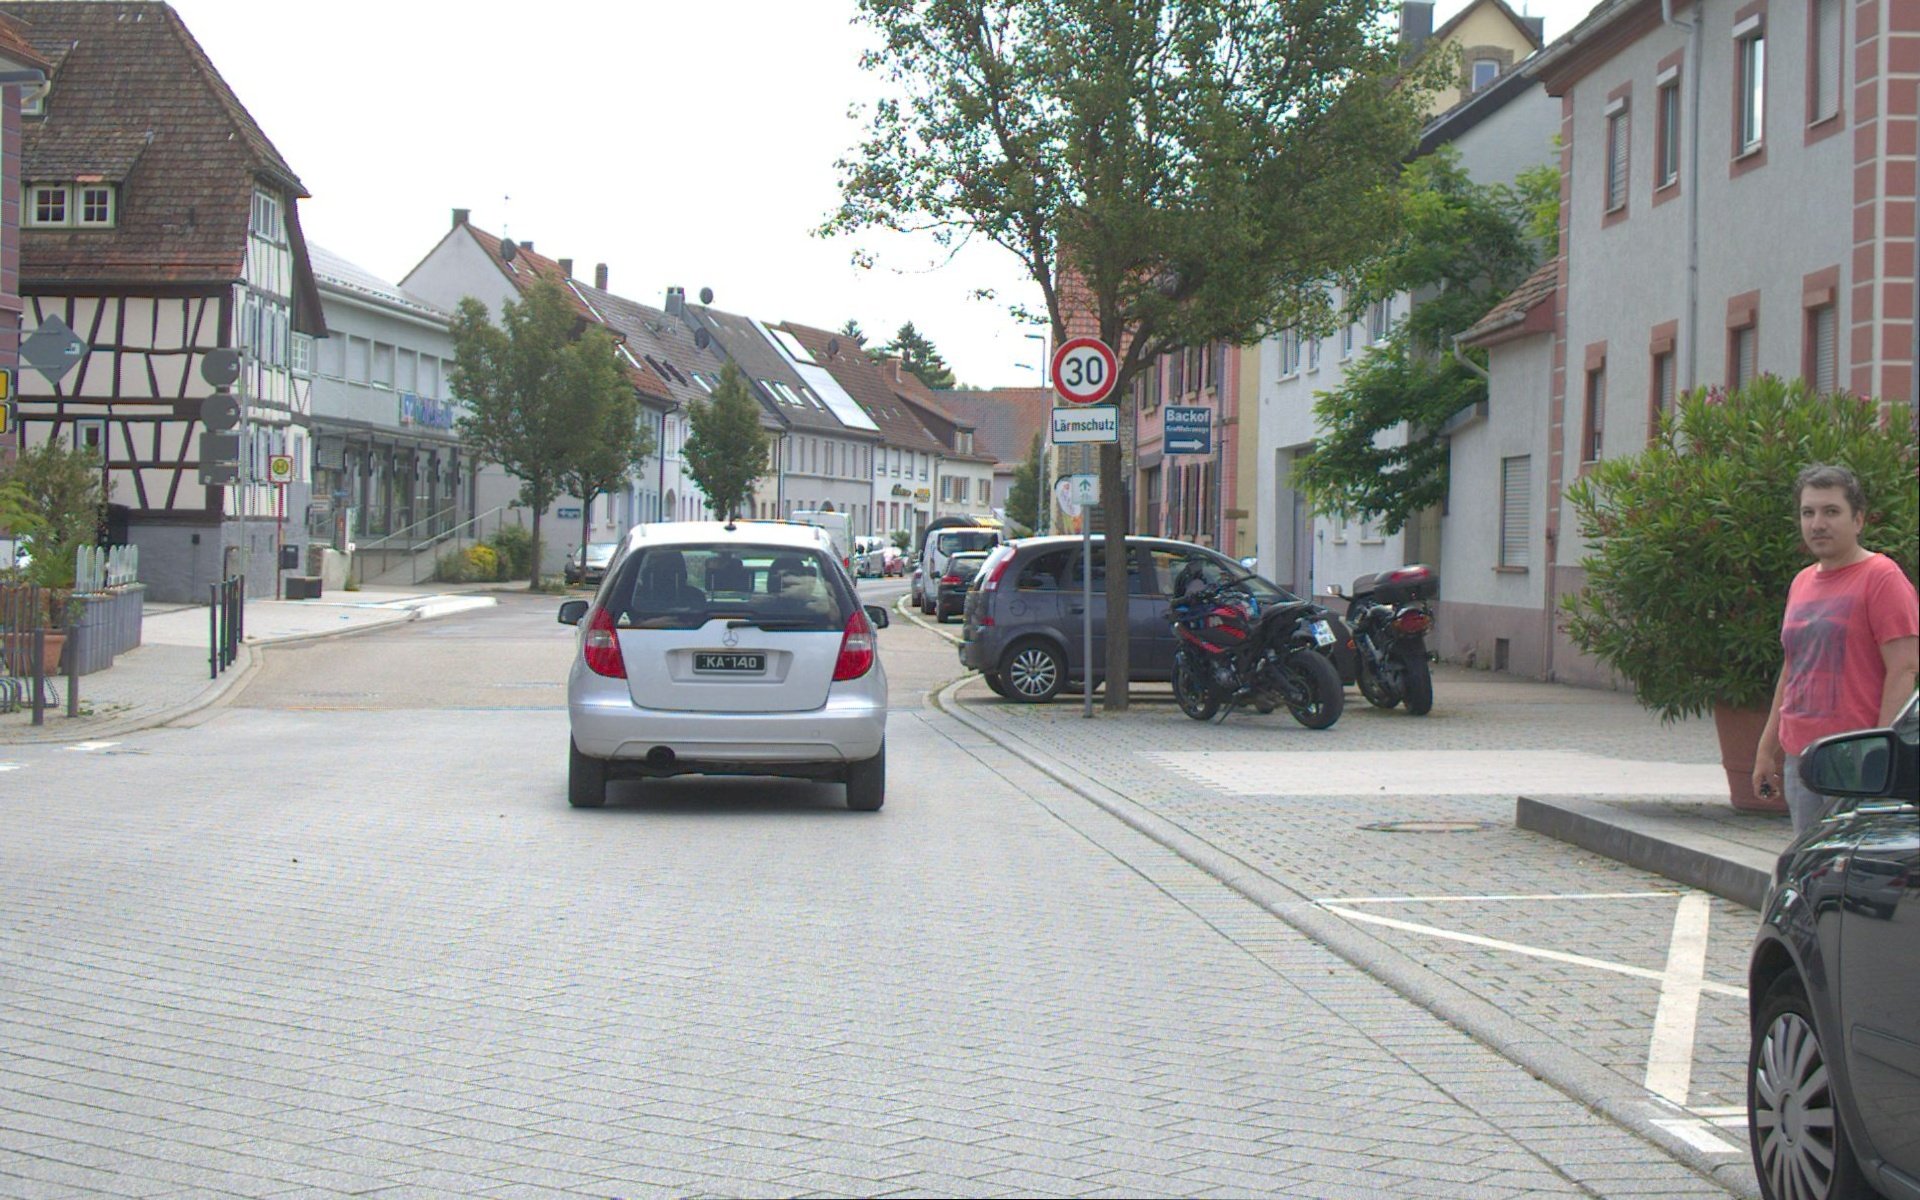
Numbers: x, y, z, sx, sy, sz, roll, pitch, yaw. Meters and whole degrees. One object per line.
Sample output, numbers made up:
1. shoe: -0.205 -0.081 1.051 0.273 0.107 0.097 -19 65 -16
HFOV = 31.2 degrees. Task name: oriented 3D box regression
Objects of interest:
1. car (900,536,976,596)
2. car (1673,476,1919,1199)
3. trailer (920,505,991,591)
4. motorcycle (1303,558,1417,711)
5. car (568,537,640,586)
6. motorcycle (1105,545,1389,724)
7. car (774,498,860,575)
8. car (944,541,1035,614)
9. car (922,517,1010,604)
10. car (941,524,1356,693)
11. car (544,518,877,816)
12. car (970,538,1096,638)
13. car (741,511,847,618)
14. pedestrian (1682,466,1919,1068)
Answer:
1. car: -0.616 -0.926 90.757 1.875 1.476 4.675 2 1 -1
2. car: 2.508 0.555 5.566 1.769 1.559 4.418 -1 1 0
3. trailer: -0.152 -1.477 96.223 1.845 2.346 3.590 0 1 -2
4. motorcycle: 3.544 0.288 30.622 0.959 1.294 2.225 -1 1 6
5. car: -11.229 -1.229 108.688 1.804 1.455 4.158 2 1 0
6. motorcycle: 2.341 0.258 28.241 2.224 1.390 0.870 2 1 41
7. car: -4.203 -1.849 101.386 2.236 2.214 4.000 0 0 2
8. car: 0.604 -0.502 73.266 1.774 1.490 4.162 1 1 -2
9. car: 0.108 -0.953 81.461 1.892 1.975 4.931 -1 1 -2
10. car: 1.814 0.062 33.886 3.847 1.572 1.851 -1 1 -5
11. car: -1.437 0.308 20.353 1.768 1.589 4.001 0 1 -3
12. car: 1.247 -0.248 60.581 1.993 1.675 4.323 1 1 -2
13. car: -3.162 -0.686 66.247 1.769 1.881 4.447 4 0 -1
14. pedestrian: 2.412 0.449 9.618 0.639 1.623 0.620 1 1 1
